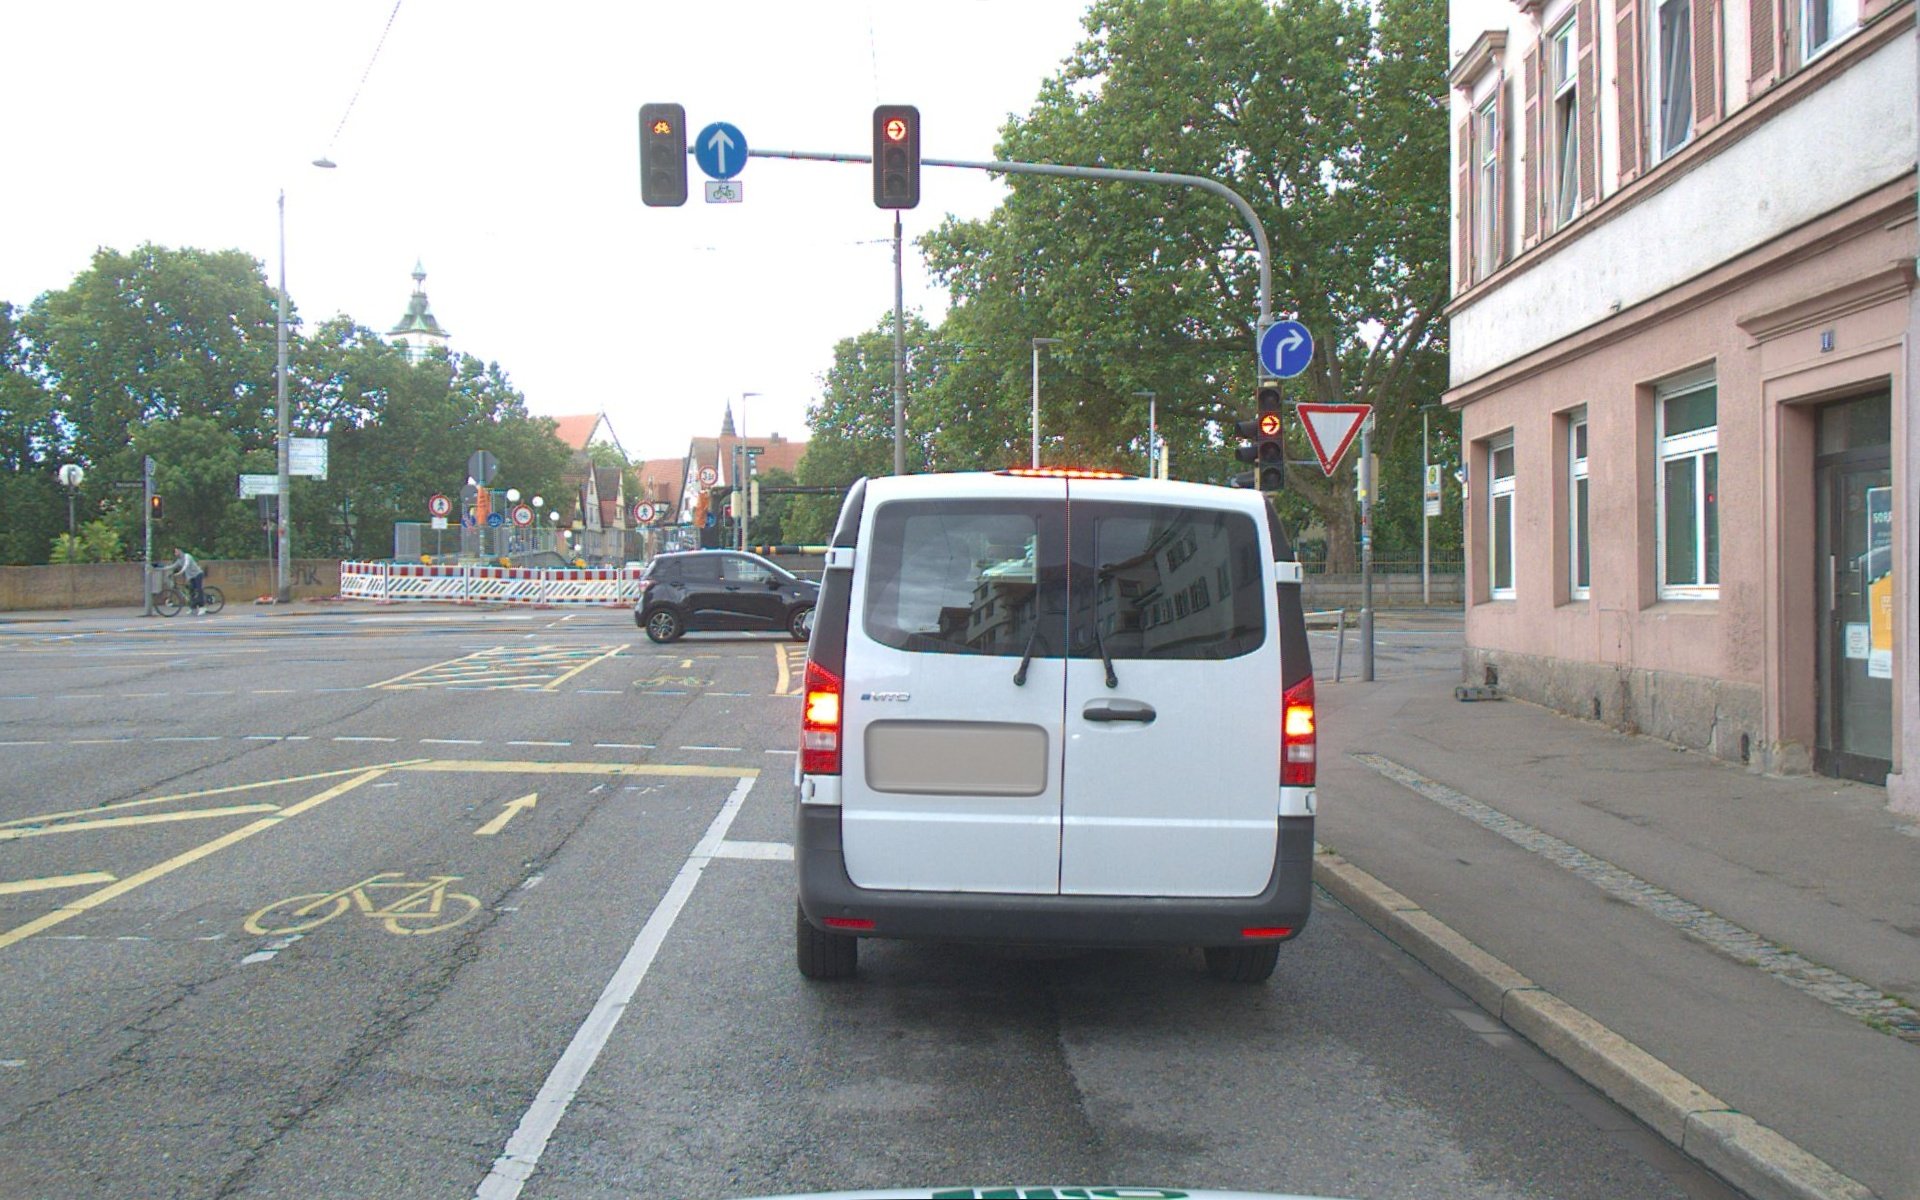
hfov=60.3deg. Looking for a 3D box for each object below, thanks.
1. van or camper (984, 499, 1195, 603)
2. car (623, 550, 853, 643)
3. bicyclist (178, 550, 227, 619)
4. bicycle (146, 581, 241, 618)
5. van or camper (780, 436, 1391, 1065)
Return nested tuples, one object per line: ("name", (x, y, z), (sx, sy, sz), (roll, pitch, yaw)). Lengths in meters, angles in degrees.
("van or camper", (3.432, -1.293, 44.472), (5.291, 2.557, 2.032), (-2, -1, -9))
("car", (-3.670, -0.090, 27.904), (3.670, 1.453, 1.827), (-1, 2, -4))
("bicyclist", (-19.567, -0.405, 42.737), (0.996, 1.774, 0.744), (-1, 1, -41))
("bicycle", (-19.733, -0.029, 42.605), (2.120, 0.907, 0.749), (-1, 2, -42))
("van or camper", (0.259, 0.405, 7.419), (1.899, 1.958, 4.438), (1, 2, -4))
